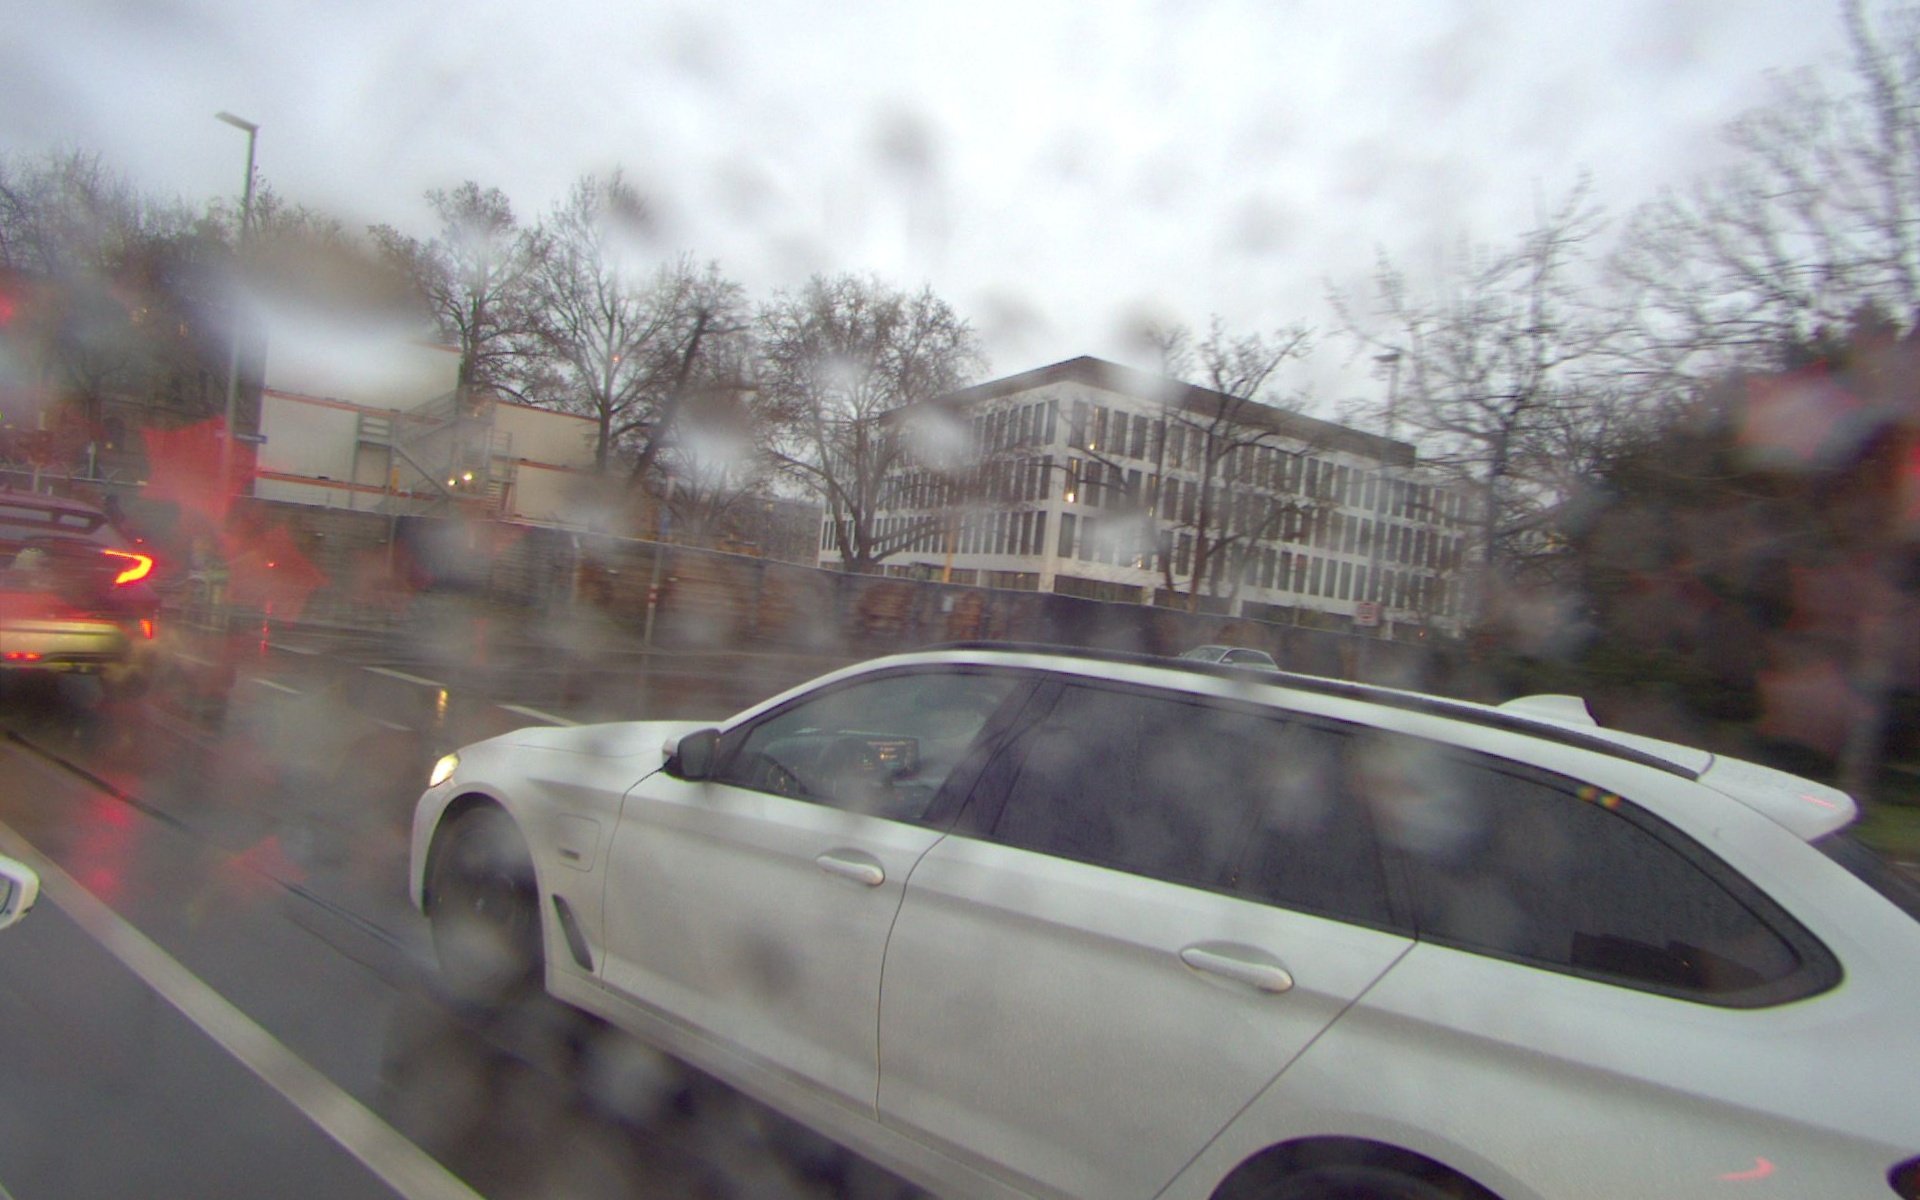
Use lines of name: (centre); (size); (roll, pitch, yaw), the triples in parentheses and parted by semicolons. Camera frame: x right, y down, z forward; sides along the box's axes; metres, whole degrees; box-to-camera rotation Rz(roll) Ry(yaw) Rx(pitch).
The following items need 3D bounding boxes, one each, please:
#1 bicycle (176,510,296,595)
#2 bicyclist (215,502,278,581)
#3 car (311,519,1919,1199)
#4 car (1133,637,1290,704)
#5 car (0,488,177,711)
bicycle: (-16.807, -1.100, 23.374); (2.204, 1.676, 0.691); (7, -1, 7)
bicyclist: (-16.512, -1.342, 23.293); (0.802, 1.700, 0.697); (6, 1, 5)
car: (0.124, 0.723, 3.186); (4.888, 1.519, 1.789); (5, -2, 34)
car: (7.347, 2.066, 29.212); (4.476, 1.507, 1.864); (7, 0, -36)
car: (-8.044, -0.144, 8.023); (3.939, 1.496, 1.723); (5, -2, 36)
